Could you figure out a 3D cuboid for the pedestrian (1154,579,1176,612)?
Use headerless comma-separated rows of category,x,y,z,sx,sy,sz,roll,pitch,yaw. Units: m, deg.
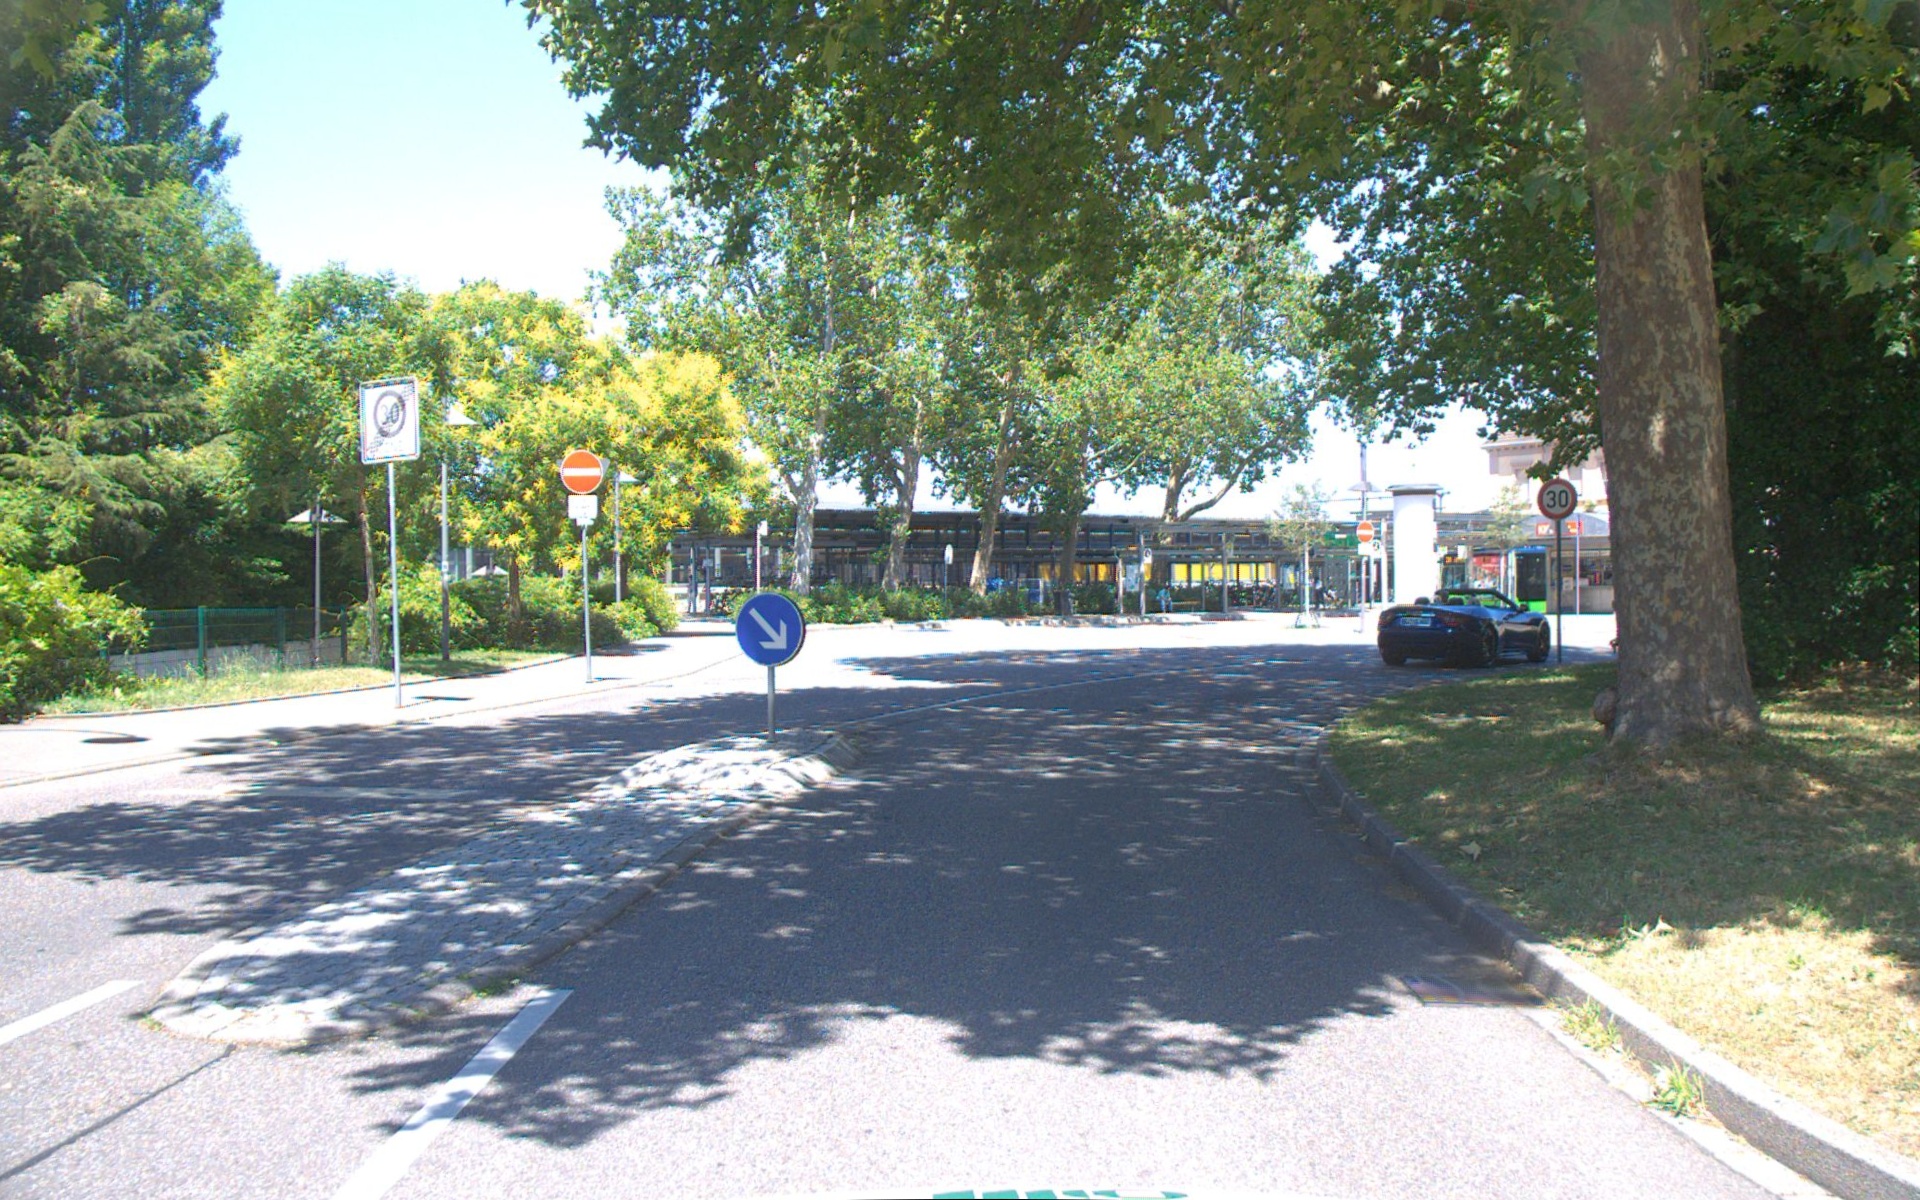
pedestrian,9.263,-0.212,74.833,0.813,1.489,0.599,0,0,-38

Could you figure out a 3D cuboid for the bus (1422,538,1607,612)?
bus,28.261,-1.296,83.823,12.079,3.587,2.143,-1,1,-35

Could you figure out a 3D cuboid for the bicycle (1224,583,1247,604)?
bicycle,14.912,-0.346,89.547,0.381,1.113,1.370,1,-1,-32

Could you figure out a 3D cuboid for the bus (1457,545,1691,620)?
bus,27.359,-0.775,73.106,13.739,3.094,2.649,-1,0,-37

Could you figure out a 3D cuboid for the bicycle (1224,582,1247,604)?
bicycle,14.593,-0.374,87.652,0.381,1.113,1.369,1,-1,-33

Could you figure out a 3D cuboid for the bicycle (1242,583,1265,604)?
bicycle,15.672,-0.354,88.330,0.381,1.113,1.370,1,-1,-32

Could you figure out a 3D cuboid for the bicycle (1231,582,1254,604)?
bicycle,14.997,-0.367,87.880,0.381,1.113,1.369,1,-1,-34

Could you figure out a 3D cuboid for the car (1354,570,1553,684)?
car,8.804,0.413,29.332,2.091,1.880,4.030,0,1,38

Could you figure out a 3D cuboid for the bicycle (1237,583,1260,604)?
bicycle,15.340,-0.361,88.088,0.381,1.113,1.370,1,-1,-32

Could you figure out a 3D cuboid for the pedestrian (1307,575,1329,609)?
pedestrian,17.385,-0.390,80.304,0.805,1.645,0.765,0,2,37

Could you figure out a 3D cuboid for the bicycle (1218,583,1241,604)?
bicycle,14.559,-0.353,89.313,0.381,1.113,1.370,1,-1,-32
